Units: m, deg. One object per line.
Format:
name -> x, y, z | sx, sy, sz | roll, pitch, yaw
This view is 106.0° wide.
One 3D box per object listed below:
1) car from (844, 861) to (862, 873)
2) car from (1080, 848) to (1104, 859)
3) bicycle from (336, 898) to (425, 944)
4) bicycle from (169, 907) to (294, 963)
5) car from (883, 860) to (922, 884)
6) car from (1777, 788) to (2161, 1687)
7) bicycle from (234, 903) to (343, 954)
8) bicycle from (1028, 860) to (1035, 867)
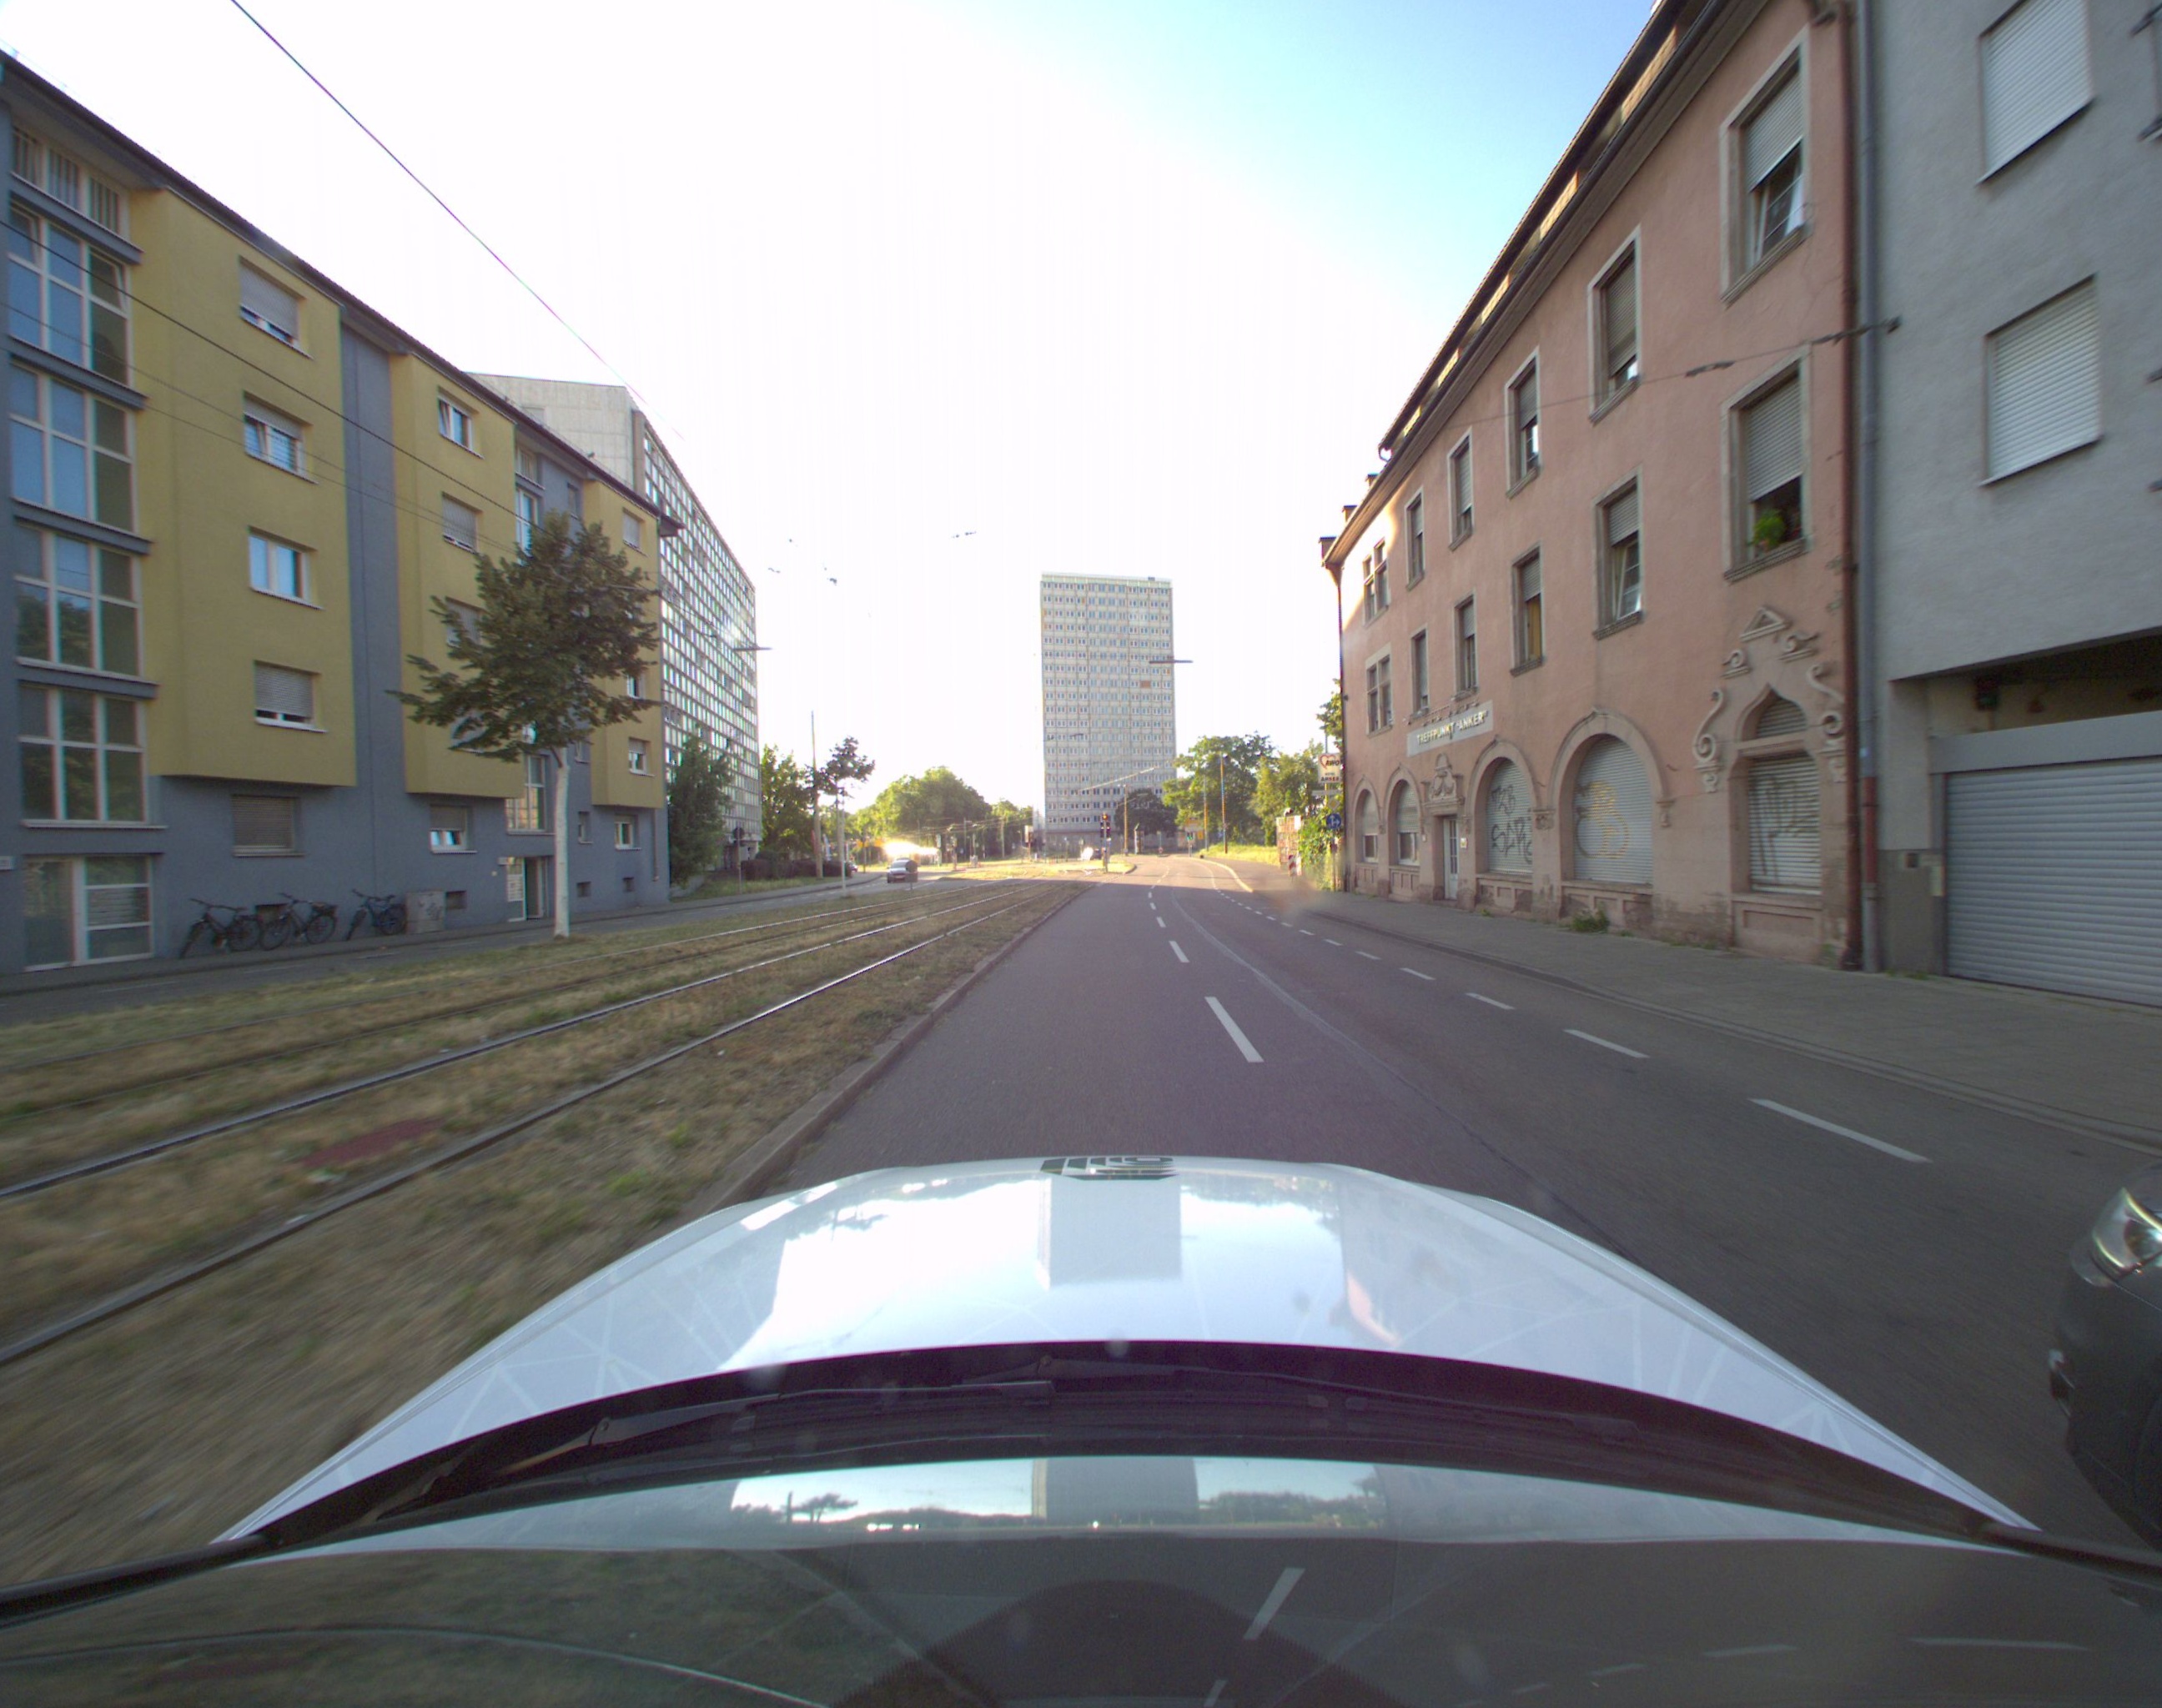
car -> -30.057, 1.729, 107.277 | 1.784, 1.482, 4.366 | -2, 0, -23
car -> 1.545, -0.109, 113.532 | 1.781, 1.422, 3.824 | -3, 0, -25
bicycle -> -17.248, 1.636, 20.109 | 0.425, 0.960, 1.913 | -2, 0, 3
bicycle -> -17.302, 1.623, 16.654 | 0.425, 0.925, 1.913 | 1, 0, 3
car -> -12.215, 1.191, 56.009 | 1.692, 1.460, 4.315 | -3, 0, 0
car -> 2.722, 0.670, 0.165 | 1.760, 1.587, 4.070 | -2, 1, 2
bicycle -> -17.383, 1.616, 17.931 | 0.425, 0.925, 1.913 | 2, 0, 3
bicycle -> -7.277, 1.443, 120.025 | 0.550, 0.917, 1.747 | -4, 1, 8
